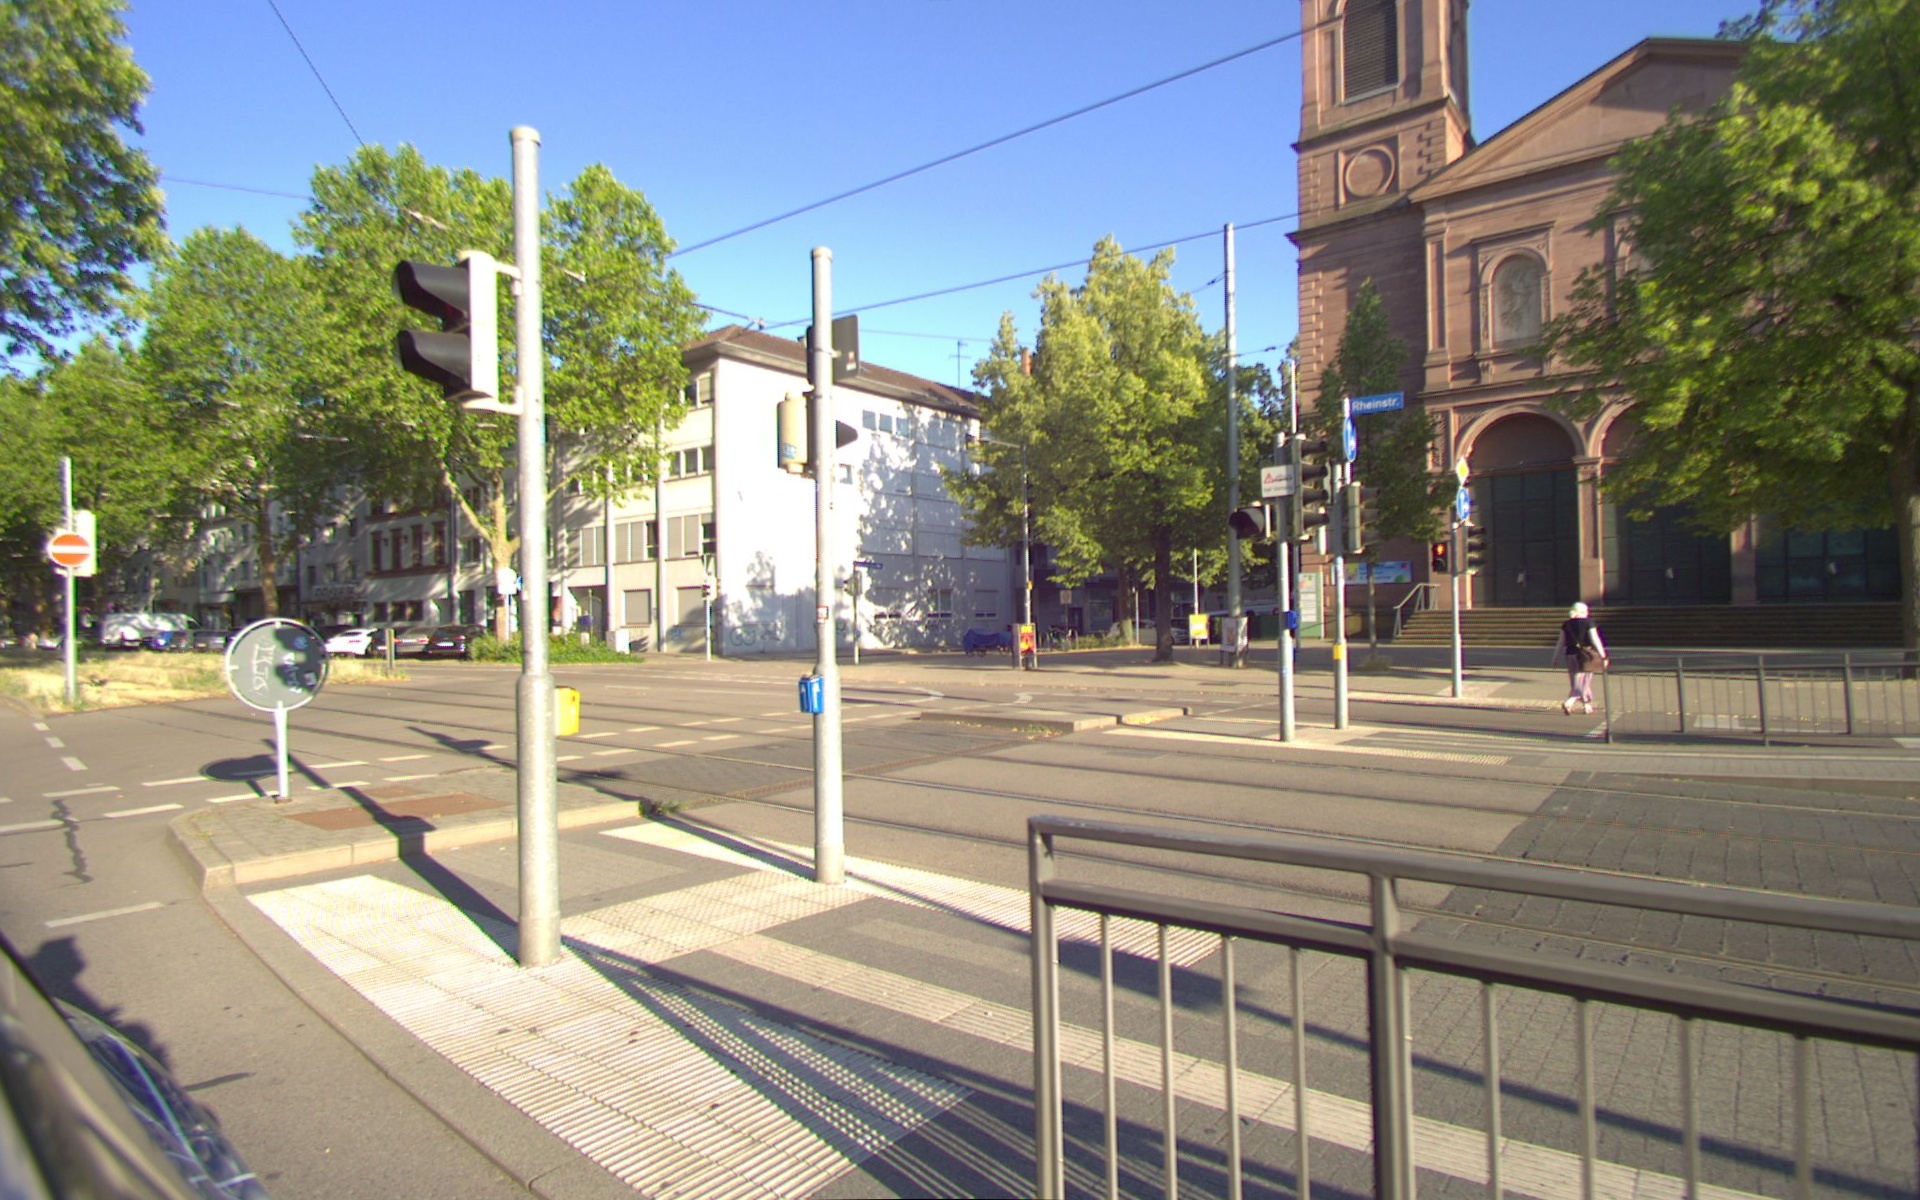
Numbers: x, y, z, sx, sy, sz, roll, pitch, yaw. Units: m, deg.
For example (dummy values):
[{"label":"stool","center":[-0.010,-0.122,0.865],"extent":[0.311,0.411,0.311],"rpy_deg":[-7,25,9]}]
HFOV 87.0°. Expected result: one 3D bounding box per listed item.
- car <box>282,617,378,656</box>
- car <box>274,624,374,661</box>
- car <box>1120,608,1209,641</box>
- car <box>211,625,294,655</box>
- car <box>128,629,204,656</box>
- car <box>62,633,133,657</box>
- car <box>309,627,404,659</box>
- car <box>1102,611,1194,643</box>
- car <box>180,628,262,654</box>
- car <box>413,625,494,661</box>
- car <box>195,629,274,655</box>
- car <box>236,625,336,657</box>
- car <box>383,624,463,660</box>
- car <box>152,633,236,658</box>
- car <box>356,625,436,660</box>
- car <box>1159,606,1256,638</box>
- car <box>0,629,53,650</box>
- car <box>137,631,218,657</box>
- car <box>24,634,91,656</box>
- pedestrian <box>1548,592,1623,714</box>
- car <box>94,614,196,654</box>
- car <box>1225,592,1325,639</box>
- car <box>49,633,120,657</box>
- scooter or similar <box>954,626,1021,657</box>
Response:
[{"label":"car","center":[-33.190,1.898,53.460],"extent":[1.507,1.958,4.224],"rpy_deg":[-1,-1,23]},{"label":"car","center":[-31.482,2.078,50.239],"extent":[2.125,1.697,4.253],"rpy_deg":[-1,-1,3]},{"label":"car","center":[10.337,1.258,51.318],"extent":[3.996,1.630,1.866],"rpy_deg":[-2,-2,39]},{"label":"car","center":[-40.704,2.261,58.348],"extent":[1.880,1.626,4.258],"rpy_deg":[-1,-1,-1]},{"label":"car","center":[-56.483,2.999,72.092],"extent":[1.979,1.829,3.985],"rpy_deg":[-1,-1,11]},{"label":"car","center":[-68.623,3.567,80.581],"extent":[1.979,1.829,3.985],"rpy_deg":[-1,-1,11]},{"label":"car","center":[-28.704,2.018,48.283],"extent":[2.122,1.388,4.259],"rpy_deg":[-1,-1,-2]},{"label":"car","center":[9.082,1.320,49.103],"extent":[3.995,1.409,1.793],"rpy_deg":[-3,-2,39]},{"label":"car","center":[-45.906,2.520,62.972],"extent":[1.882,1.468,4.254],"rpy_deg":[-1,-1,2]},{"label":"car","center":[-21.469,1.787,43.062],"extent":[1.746,1.442,3.975],"rpy_deg":[-1,-1,-4]},{"label":"car","center":[-43.488,2.489,60.748],"extent":[1.581,1.470,4.254],"rpy_deg":[-1,-1,2]},{"label":"car","center":[-35.372,2.152,53.233],"extent":[1.632,1.569,4.224],"rpy_deg":[-1,-1,23]},{"label":"car","center":[-23.894,1.848,45.166],"extent":[1.716,1.443,3.975],"rpy_deg":[-2,-1,-5]},{"label":"car","center":[-49.377,2.911,65.318],"extent":[1.983,1.529,3.976],"rpy_deg":[-1,-1,18]},{"label":"car","center":[-26.337,1.962,47.420],"extent":[1.804,1.515,3.975],"rpy_deg":[-1,-1,-4]},{"label":"car","center":[13.402,1.215,54.863],"extent":[4.703,1.674,1.974],"rpy_deg":[-2,-1,38]},{"label":"car","center":[-81.339,3.378,87.392],"extent":[1.995,1.719,4.187],"rpy_deg":[-2,-2,34]},{"label":"car","center":[-51.876,2.889,67.198],"extent":[1.979,1.630,3.985],"rpy_deg":[-1,-1,11]},{"label":"car","center":[-77.864,3.864,87.389],"extent":[1.979,1.719,3.985],"rpy_deg":[-1,-1,11]},{"label":"pedestrian","center":[9.529,0.781,15.411],"extent":[0.831,1.773,0.910],"rpy_deg":[-1,-1,40]},{"label":"car","center":[-58.916,2.438,73.317],"extent":[2.159,2.721,5.587],"rpy_deg":[-1,-1,14]},{"label":"car","center":[18.117,0.925,58.365],"extent":[5.108,2.537,1.974],"rpy_deg":[-2,-2,39]},{"label":"car","center":[-71.286,3.655,82.478],"extent":[1.979,1.829,3.985],"rpy_deg":[-1,-1,11]},{"label":"scooter or similar","center":[1.060,1.594,39.367],"extent":[2.445,1.135,1.082],"rpy_deg":[-2,-1,39]}]
